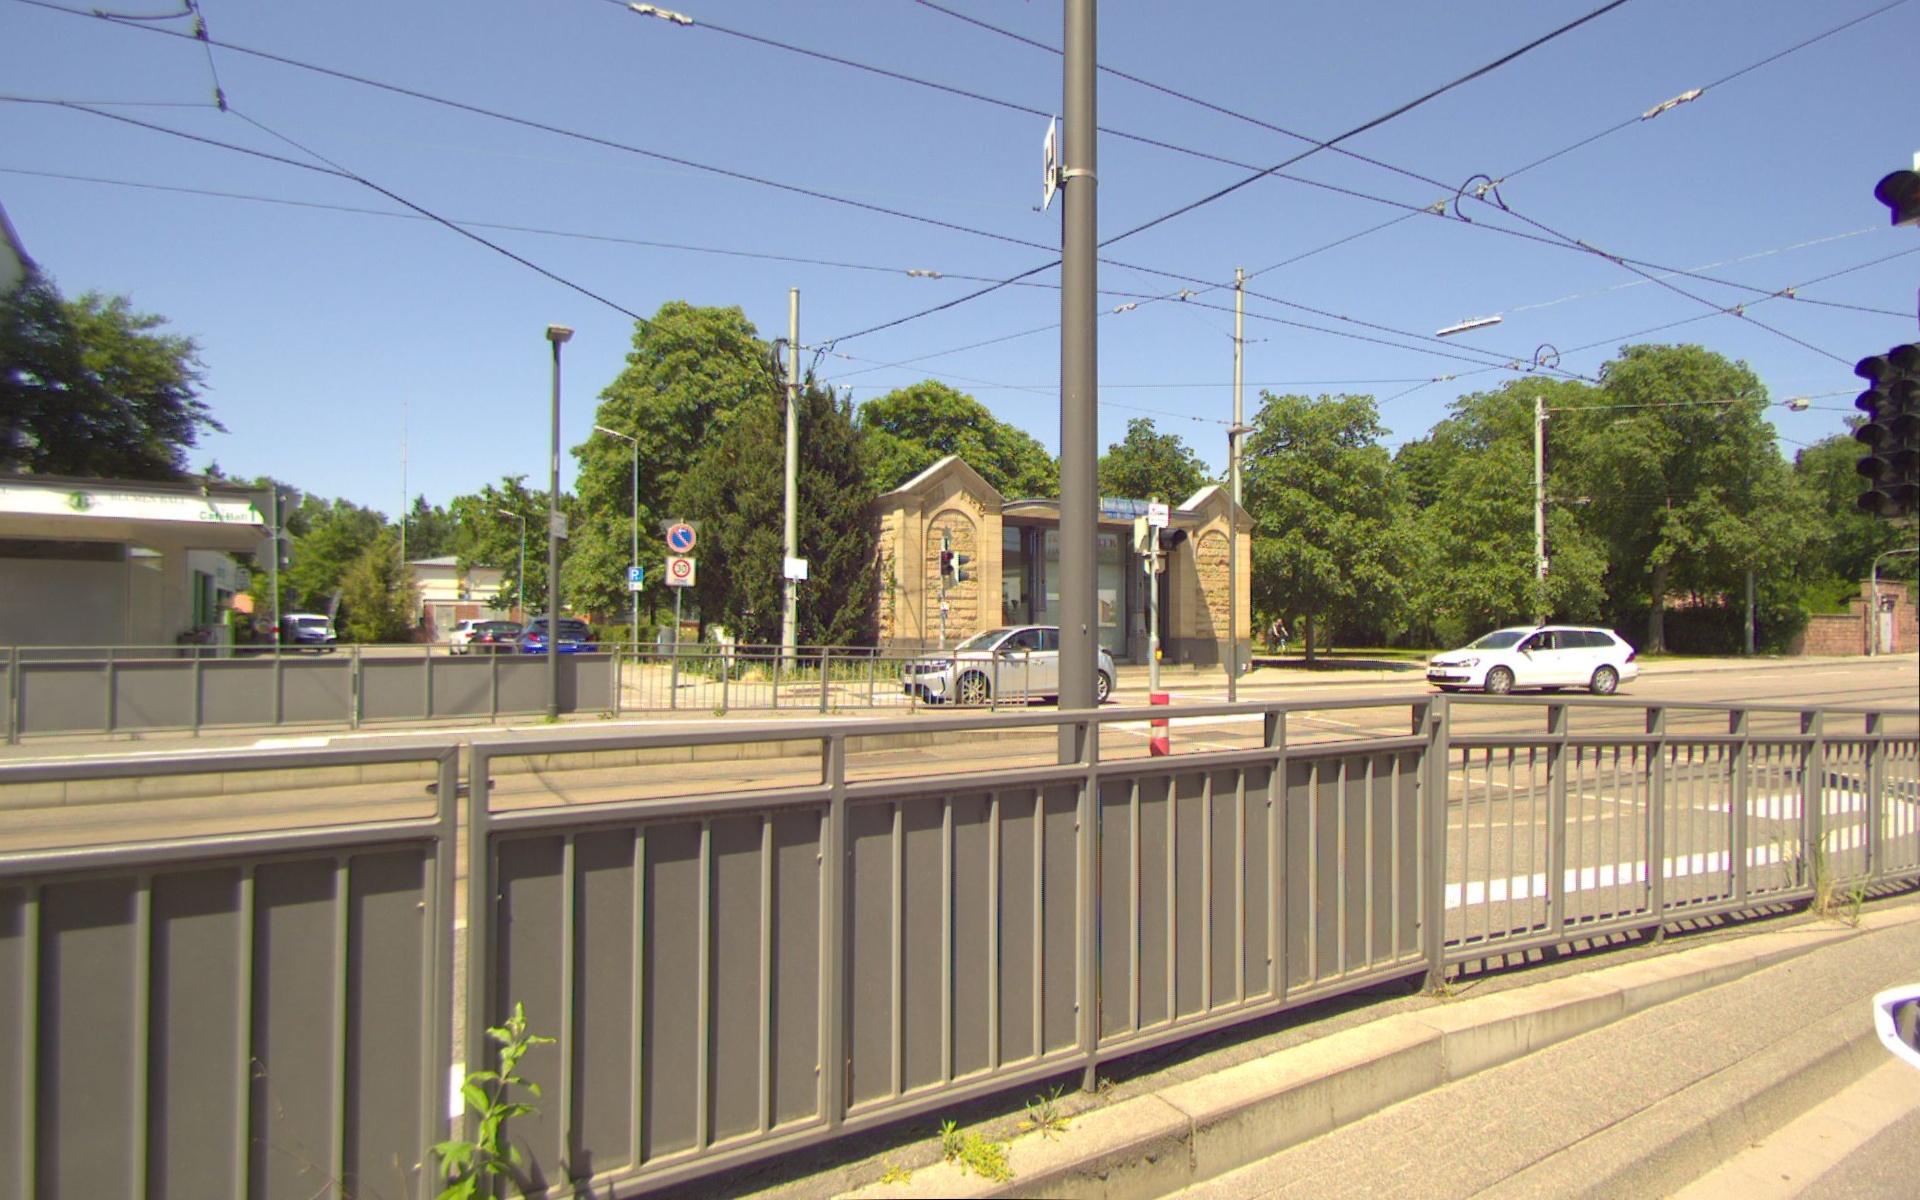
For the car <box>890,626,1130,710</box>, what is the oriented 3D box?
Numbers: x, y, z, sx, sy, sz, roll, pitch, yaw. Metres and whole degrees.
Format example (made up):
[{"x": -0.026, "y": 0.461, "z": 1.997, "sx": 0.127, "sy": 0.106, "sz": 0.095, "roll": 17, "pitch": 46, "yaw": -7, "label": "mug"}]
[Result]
[{"x": 0.914, "y": 1.188, "z": 18.190, "sx": 3.998, "sy": 1.380, "sz": 1.812, "roll": 1, "pitch": -3, "yaw": -27, "label": "car"}]

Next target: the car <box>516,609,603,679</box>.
[{"x": -9.947, "y": 1.030, "z": 24.806, "sx": 1.799, "sy": 1.472, "sz": 3.934, "roll": 1, "pitch": 1, "yaw": -25, "label": "car"}]

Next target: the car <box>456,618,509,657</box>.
[{"x": -18.797, "y": 1.476, "z": 39.485, "sx": 1.625, "sy": 1.465, "sz": 3.784, "roll": 1, "pitch": -3, "yaw": -29, "label": "car"}]

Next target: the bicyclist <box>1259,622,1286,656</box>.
[{"x": 14.430, "y": 1.798, "z": 46.388, "sx": 0.841, "sy": 1.551, "sz": 0.841, "roll": 1, "pitch": -1, "yaw": -22, "label": "bicyclist"}]

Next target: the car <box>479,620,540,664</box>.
[{"x": -15.335, "y": 1.427, "z": 34.111, "sx": 1.624, "sy": 1.388, "sz": 3.785, "roll": 1, "pitch": -3, "yaw": -29, "label": "car"}]

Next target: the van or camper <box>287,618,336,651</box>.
[{"x": -32.114, "y": 1.688, "z": 49.708, "sx": 1.676, "sy": 1.587, "sz": 3.784, "roll": 1, "pitch": -2, "yaw": -38, "label": "van or camper"}]

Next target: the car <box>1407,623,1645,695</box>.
[{"x": 12.443, "y": 1.275, "z": 22.195, "sx": 4.417, "sy": 1.509, "sz": 1.821, "roll": 1, "pitch": -1, "yaw": -9, "label": "car"}]

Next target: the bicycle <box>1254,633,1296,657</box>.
[{"x": 14.488, "y": 2.051, "z": 46.267, "sx": 0.706, "sy": 1.055, "sz": 2.093, "roll": 1, "pitch": -1, "yaw": -21, "label": "bicycle"}]
